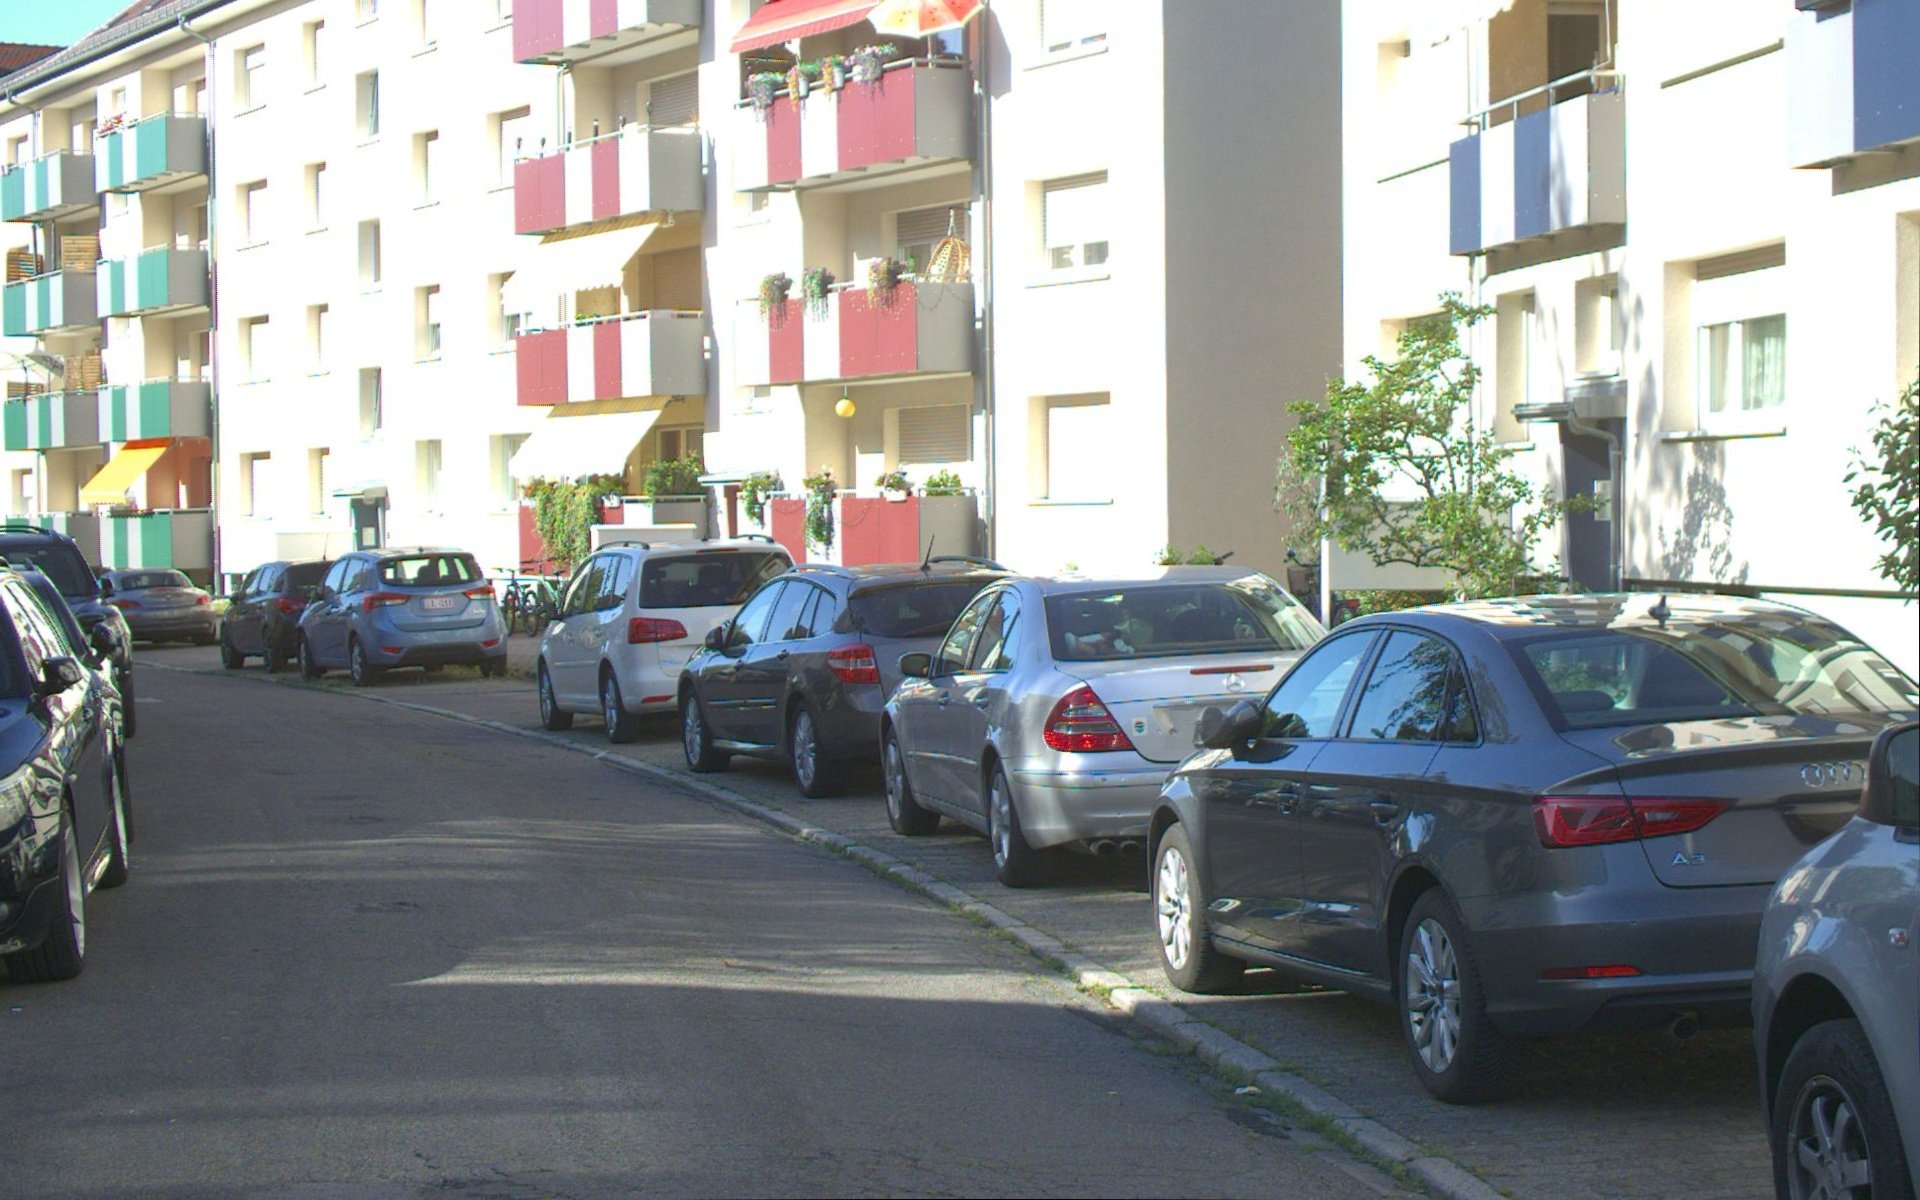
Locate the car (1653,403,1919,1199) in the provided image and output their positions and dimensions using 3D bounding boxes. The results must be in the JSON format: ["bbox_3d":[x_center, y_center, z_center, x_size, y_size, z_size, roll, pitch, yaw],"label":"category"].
[{"bbox_3d":[2.759,0.515,5.577,1.746,1.817,4.133,-4,2,-10],"label":"car"}]

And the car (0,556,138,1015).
[{"bbox_3d":[-4.226,0.623,13.320,1.677,1.448,4.622,-4,2,-10],"label":"car"}]

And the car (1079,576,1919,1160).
[{"bbox_3d":[1.779,0.670,11.190,1.677,1.402,4.547,-1,1,-13],"label":"car"}]

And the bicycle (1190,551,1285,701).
[{"bbox_3d":[2.362,0.201,29.457,0.514,1.198,1.761,-2,2,-4],"label":"bicycle"}]

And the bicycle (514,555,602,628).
[{"bbox_3d":[-5.971,-0.139,51.006,0.617,0.974,1.896,-5,4,-27],"label":"bicycle"}]

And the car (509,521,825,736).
[{"bbox_3d":[-2.612,0.223,29.656,1.693,1.650,4.391,-2,1,-18],"label":"car"}]

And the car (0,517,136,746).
[{"bbox_3d":[-7.870,0.232,28.653,1.555,1.708,4.339,-4,2,-17],"label":"car"}]

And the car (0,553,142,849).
[{"bbox_3d":[-5.528,0.513,19.321,1.677,1.437,4.281,-4,2,-14],"label":"car"}]

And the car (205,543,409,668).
[{"bbox_3d":[-8.821,0.035,46.231,1.735,1.503,3.886,-4,3,-24],"label":"car"}]

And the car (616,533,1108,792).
[{"bbox_3d":[-0.789,0.385,23.069,1.693,1.426,4.689,-5,1,-22],"label":"car"}]

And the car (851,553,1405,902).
[{"bbox_3d":[0.674,0.515,17.300,1.677,1.442,4.725,-1,1,-11],"label":"car"}]

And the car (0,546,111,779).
[{"bbox_3d":[-6.690,0.394,23.655,1.555,1.437,3.969,-4,2,-14],"label":"car"}]

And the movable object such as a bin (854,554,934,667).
[{"bbox_3d":[-0.644,0.104,33.457,0.583,1.052,0.641,-4,0,-13],"label":"movable object such as a bin"}]

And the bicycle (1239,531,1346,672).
[{"bbox_3d":[2.981,-0.008,30.960,0.514,1.198,1.834,-3,2,-7],"label":"bicycle"}]

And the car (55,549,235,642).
[{"bbox_3d":[-13.262,-0.099,55.798,1.685,1.358,4.240,-4,3,-29],"label":"car"}]

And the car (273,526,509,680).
[{"bbox_3d":[-6.927,-0.014,41.572,1.765,1.630,4.042,-3,3,-24],"label":"car"}]

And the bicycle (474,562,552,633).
[{"bbox_3d":[-6.593,-0.043,50.682,0.497,1.016,1.842,-3,2,-27],"label":"bicycle"}]
